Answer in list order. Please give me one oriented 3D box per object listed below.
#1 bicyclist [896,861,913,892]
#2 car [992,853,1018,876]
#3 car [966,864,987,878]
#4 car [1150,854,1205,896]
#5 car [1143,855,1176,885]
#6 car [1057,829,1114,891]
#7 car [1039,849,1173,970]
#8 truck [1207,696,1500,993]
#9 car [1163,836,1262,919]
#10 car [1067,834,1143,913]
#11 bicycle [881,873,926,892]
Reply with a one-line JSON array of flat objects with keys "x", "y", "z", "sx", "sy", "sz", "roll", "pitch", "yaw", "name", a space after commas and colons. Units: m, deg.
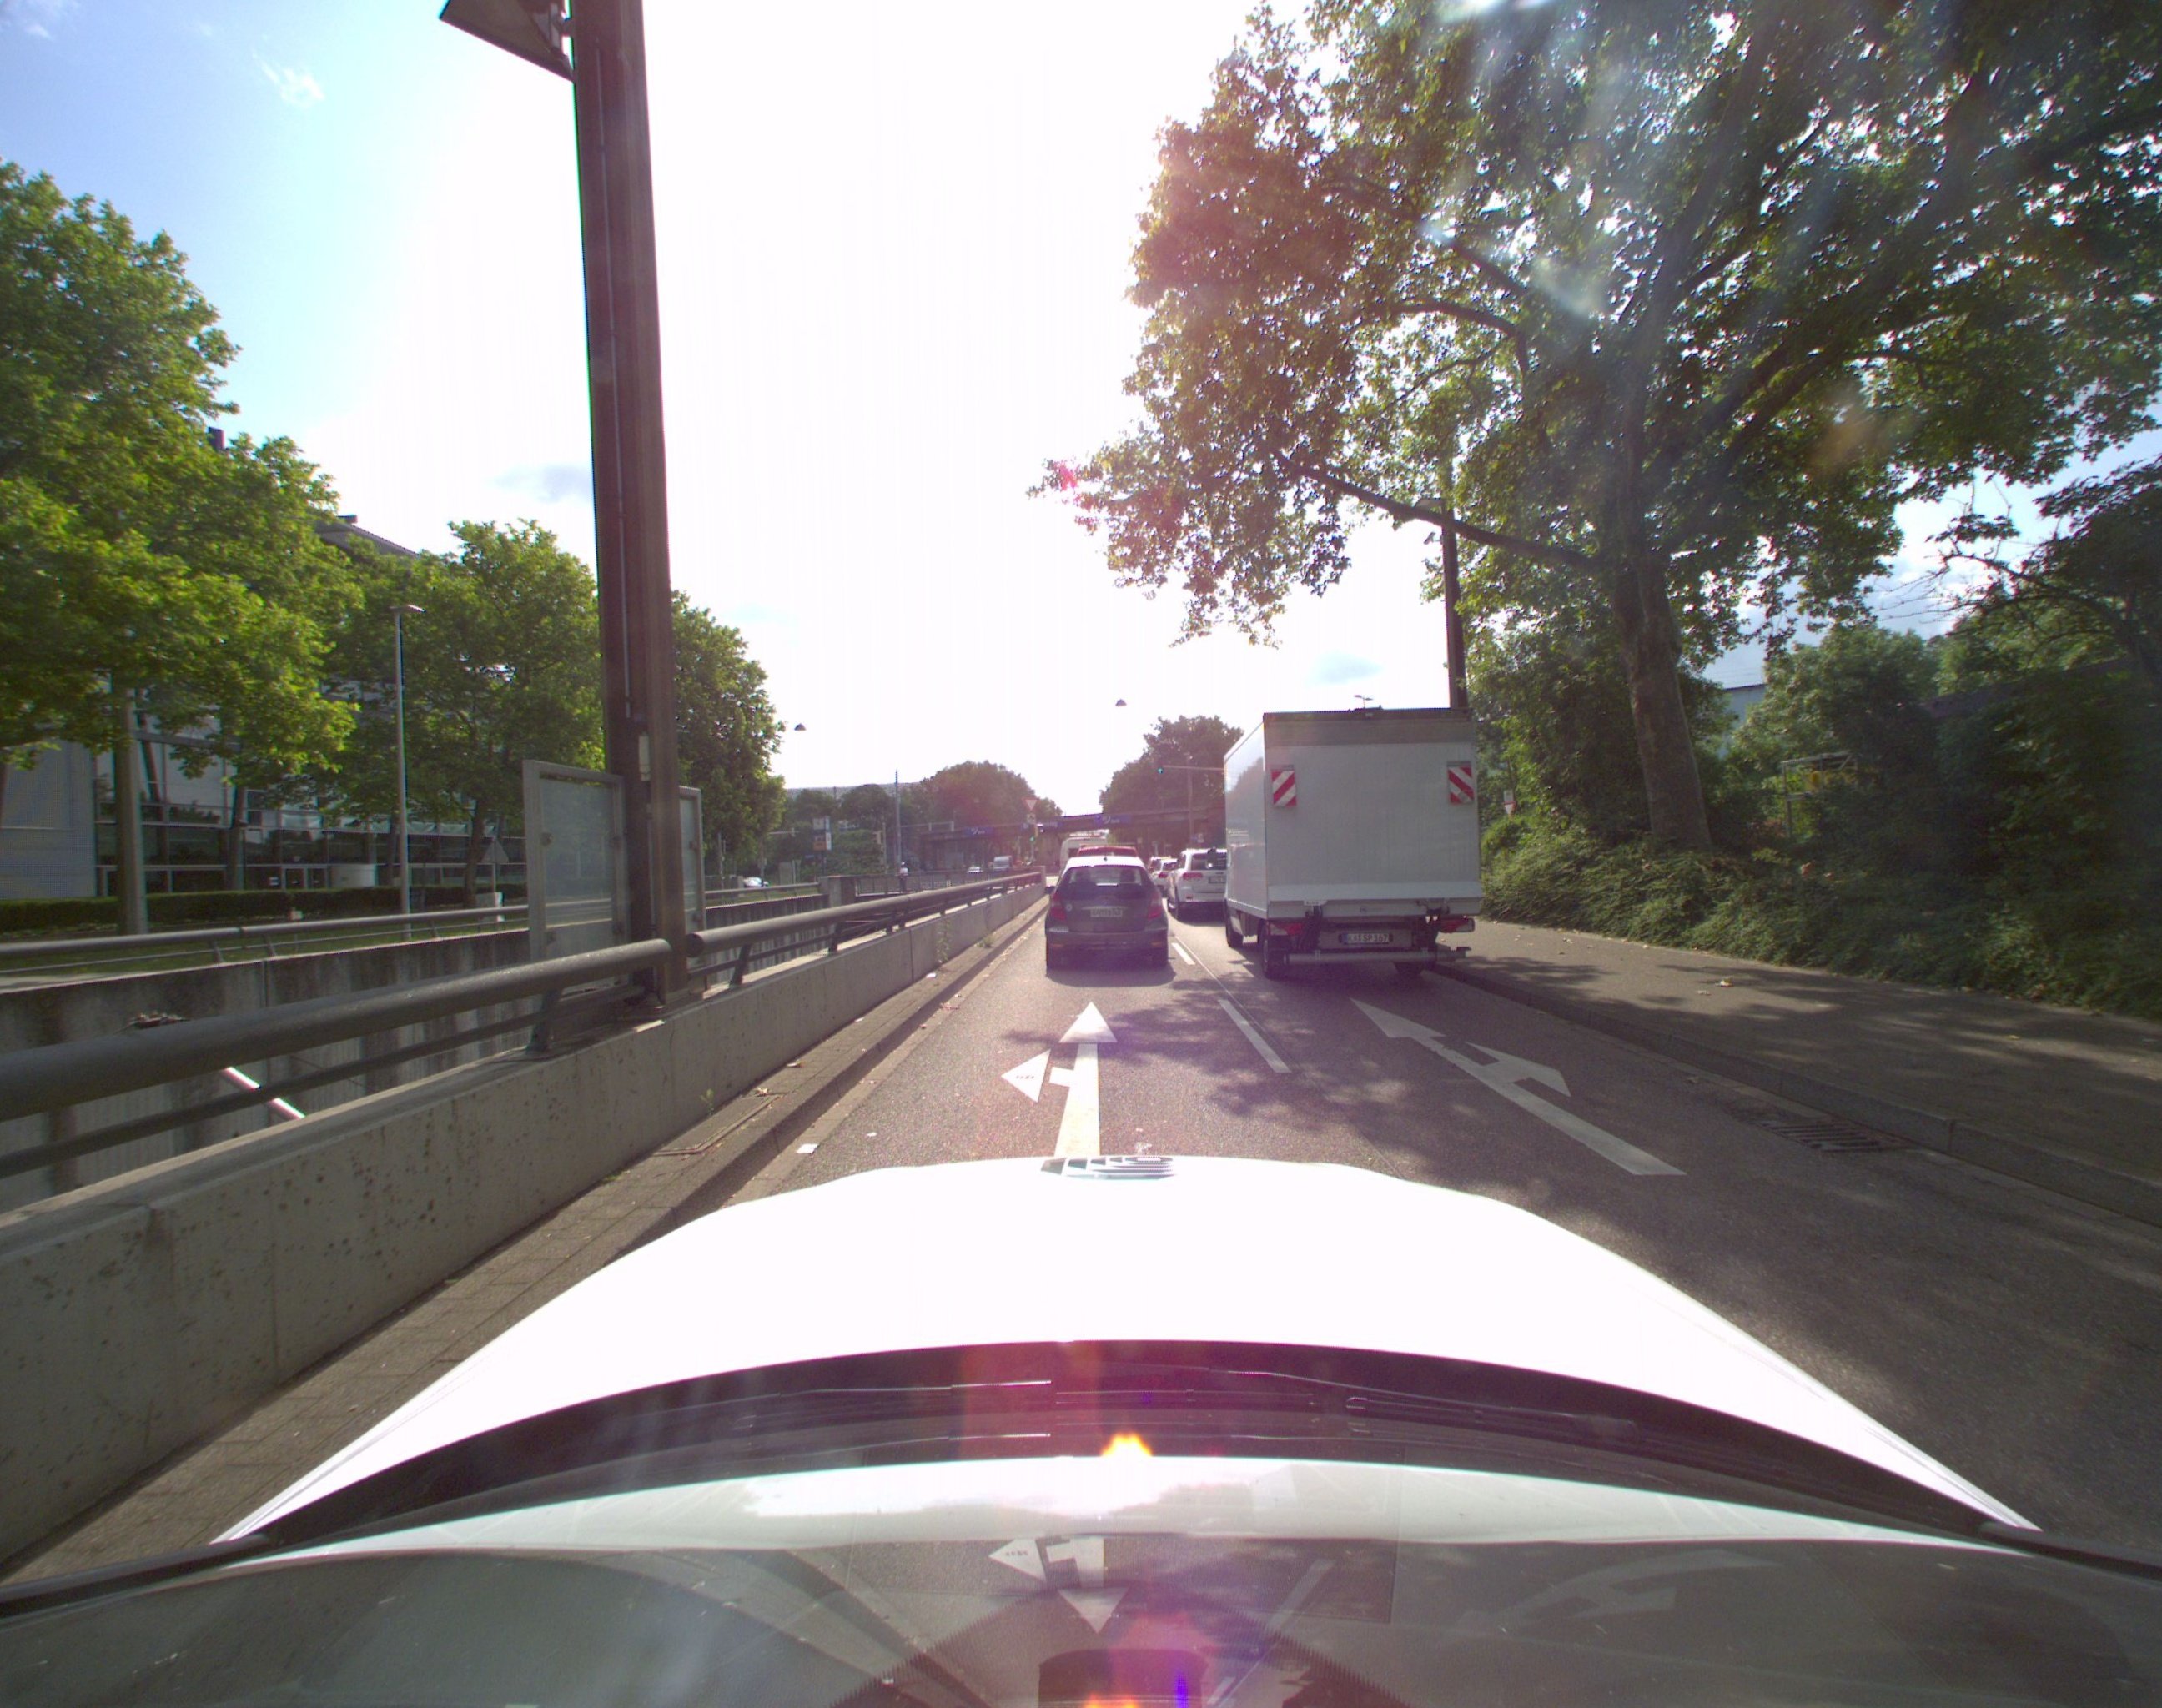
[{"x": -8.268, "y": 1.059, "z": 38.152, "sx": 0.507, "sy": 1.404, "sz": 0.627, "roll": -3, "pitch": -1, "yaw": 6, "name": "bicyclist"}, {"x": -9.157, "y": 1.263, "z": 99.055, "sx": 2.249, "sy": 2.526, "sz": 5.630, "roll": -2, "pitch": -1, "yaw": 3, "name": "car"}, {"x": -12.374, "y": 1.973, "z": 96.615, "sx": 1.697, "sy": 1.476, "sz": 4.000, "roll": -5, "pitch": -1, "yaw": 1, "name": "car"}, {"x": 3.802, "y": 0.829, "z": 32.557, "sx": 1.845, "sy": 1.521, "sz": 3.618, "roll": -1, "pitch": -1, "yaw": 2, "name": "car"}, {"x": 4.256, "y": 0.864, "z": 44.340, "sx": 1.538, "sy": 1.521, "sz": 3.618, "roll": -1, "pitch": -1, "yaw": 2, "name": "car"}, {"x": 0.121, "y": 0.315, "z": 38.213, "sx": 2.194, "sy": 2.726, "sz": 4.921, "roll": -1, "pitch": -1, "yaw": -5, "name": "car"}, {"x": 0.405, "y": 0.758, "z": 12.976, "sx": 1.785, "sy": 1.608, "sz": 3.800, "roll": -1, "pitch": 0, "yaw": 2, "name": "car"}, {"x": 3.364, "y": -0.071, "z": 11.707, "sx": 2.437, "sy": 3.121, "sz": 6.033, "roll": -1, "pitch": -1, "yaw": 3, "name": "truck"}, {"x": 3.324, "y": 0.603, "z": 21.428, "sx": 1.987, "sy": 1.901, "sz": 4.510, "roll": -1, "pitch": -1, "yaw": 2, "name": "car"}, {"x": 0.700, "y": 0.544, "z": 23.573, "sx": 1.948, "sy": 2.017, "sz": 4.678, "roll": -1, "pitch": -1, "yaw": 2, "name": "car"}, {"x": -8.304, "y": 1.339, "z": 38.152, "sx": 1.963, "sy": 0.826, "sz": 0.613, "roll": -2, "pitch": -1, "yaw": 4, "name": "bicycle"}]
